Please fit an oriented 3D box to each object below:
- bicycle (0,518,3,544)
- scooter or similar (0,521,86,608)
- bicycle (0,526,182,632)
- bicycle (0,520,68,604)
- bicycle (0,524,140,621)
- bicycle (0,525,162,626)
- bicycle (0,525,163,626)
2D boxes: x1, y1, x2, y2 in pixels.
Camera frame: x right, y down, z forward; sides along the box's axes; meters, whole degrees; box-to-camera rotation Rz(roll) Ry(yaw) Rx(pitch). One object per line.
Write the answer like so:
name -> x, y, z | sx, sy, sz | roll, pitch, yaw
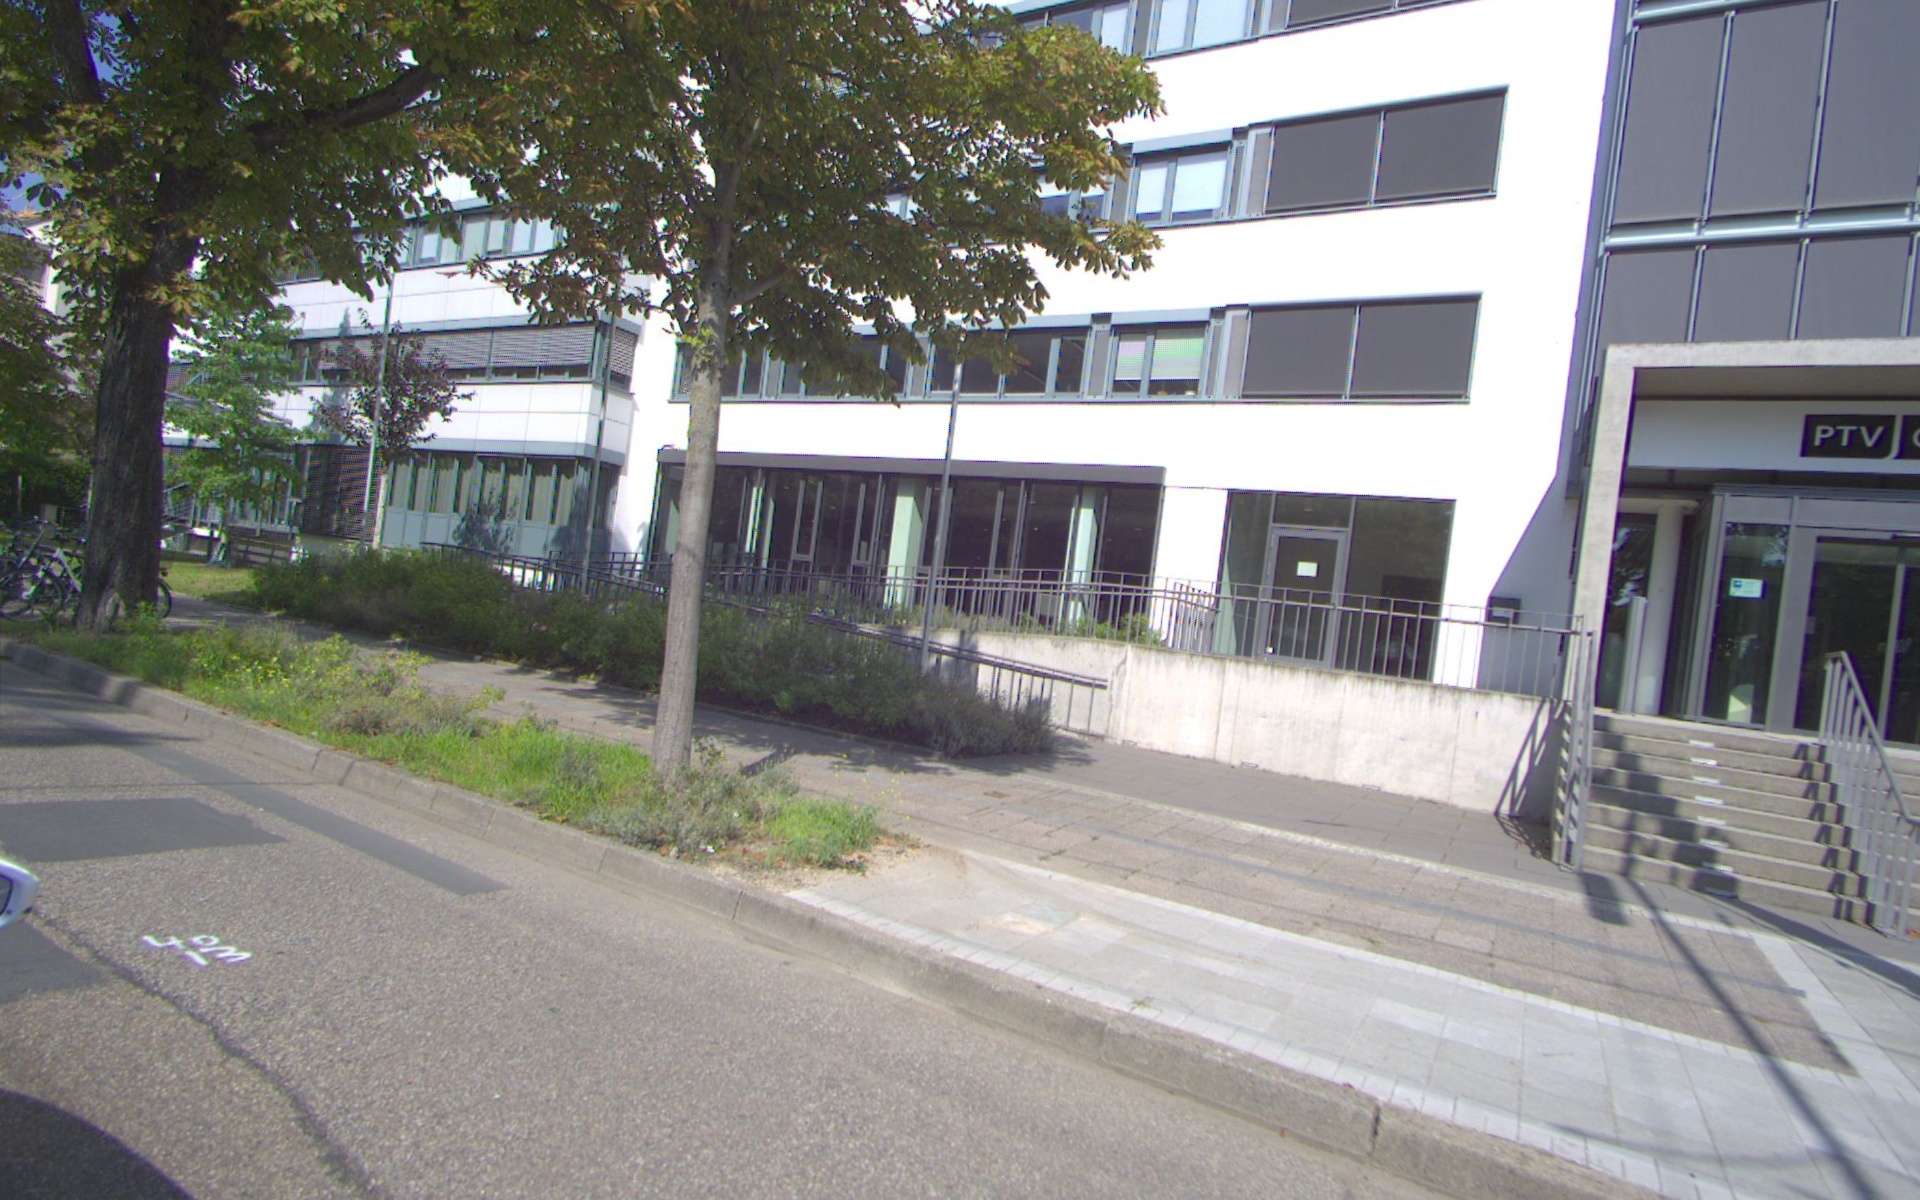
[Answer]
bicycle -> -15.597, -0.824, 15.000 | 0.531, 1.085, 1.774 | 7, 0, 30
scooter or similar -> -12.928, -0.516, 13.418 | 0.531, 1.085, 1.774 | 7, 0, 30
bicycle -> -10.461, -0.232, 11.959 | 0.531, 1.085, 1.774 | 7, 0, 30
bicycle -> -13.429, -0.574, 13.701 | 0.531, 1.085, 1.774 | 7, 0, 30
bicycle -> -11.536, -0.355, 12.634 | 0.531, 1.085, 1.774 | 7, 0, 30
bicycle -> -11.018, -0.294, 12.355 | 0.531, 1.085, 1.774 | 7, 0, 30
bicycle -> -11.031, -0.295, 12.376 | 0.531, 1.085, 1.774 | 7, 0, 30
